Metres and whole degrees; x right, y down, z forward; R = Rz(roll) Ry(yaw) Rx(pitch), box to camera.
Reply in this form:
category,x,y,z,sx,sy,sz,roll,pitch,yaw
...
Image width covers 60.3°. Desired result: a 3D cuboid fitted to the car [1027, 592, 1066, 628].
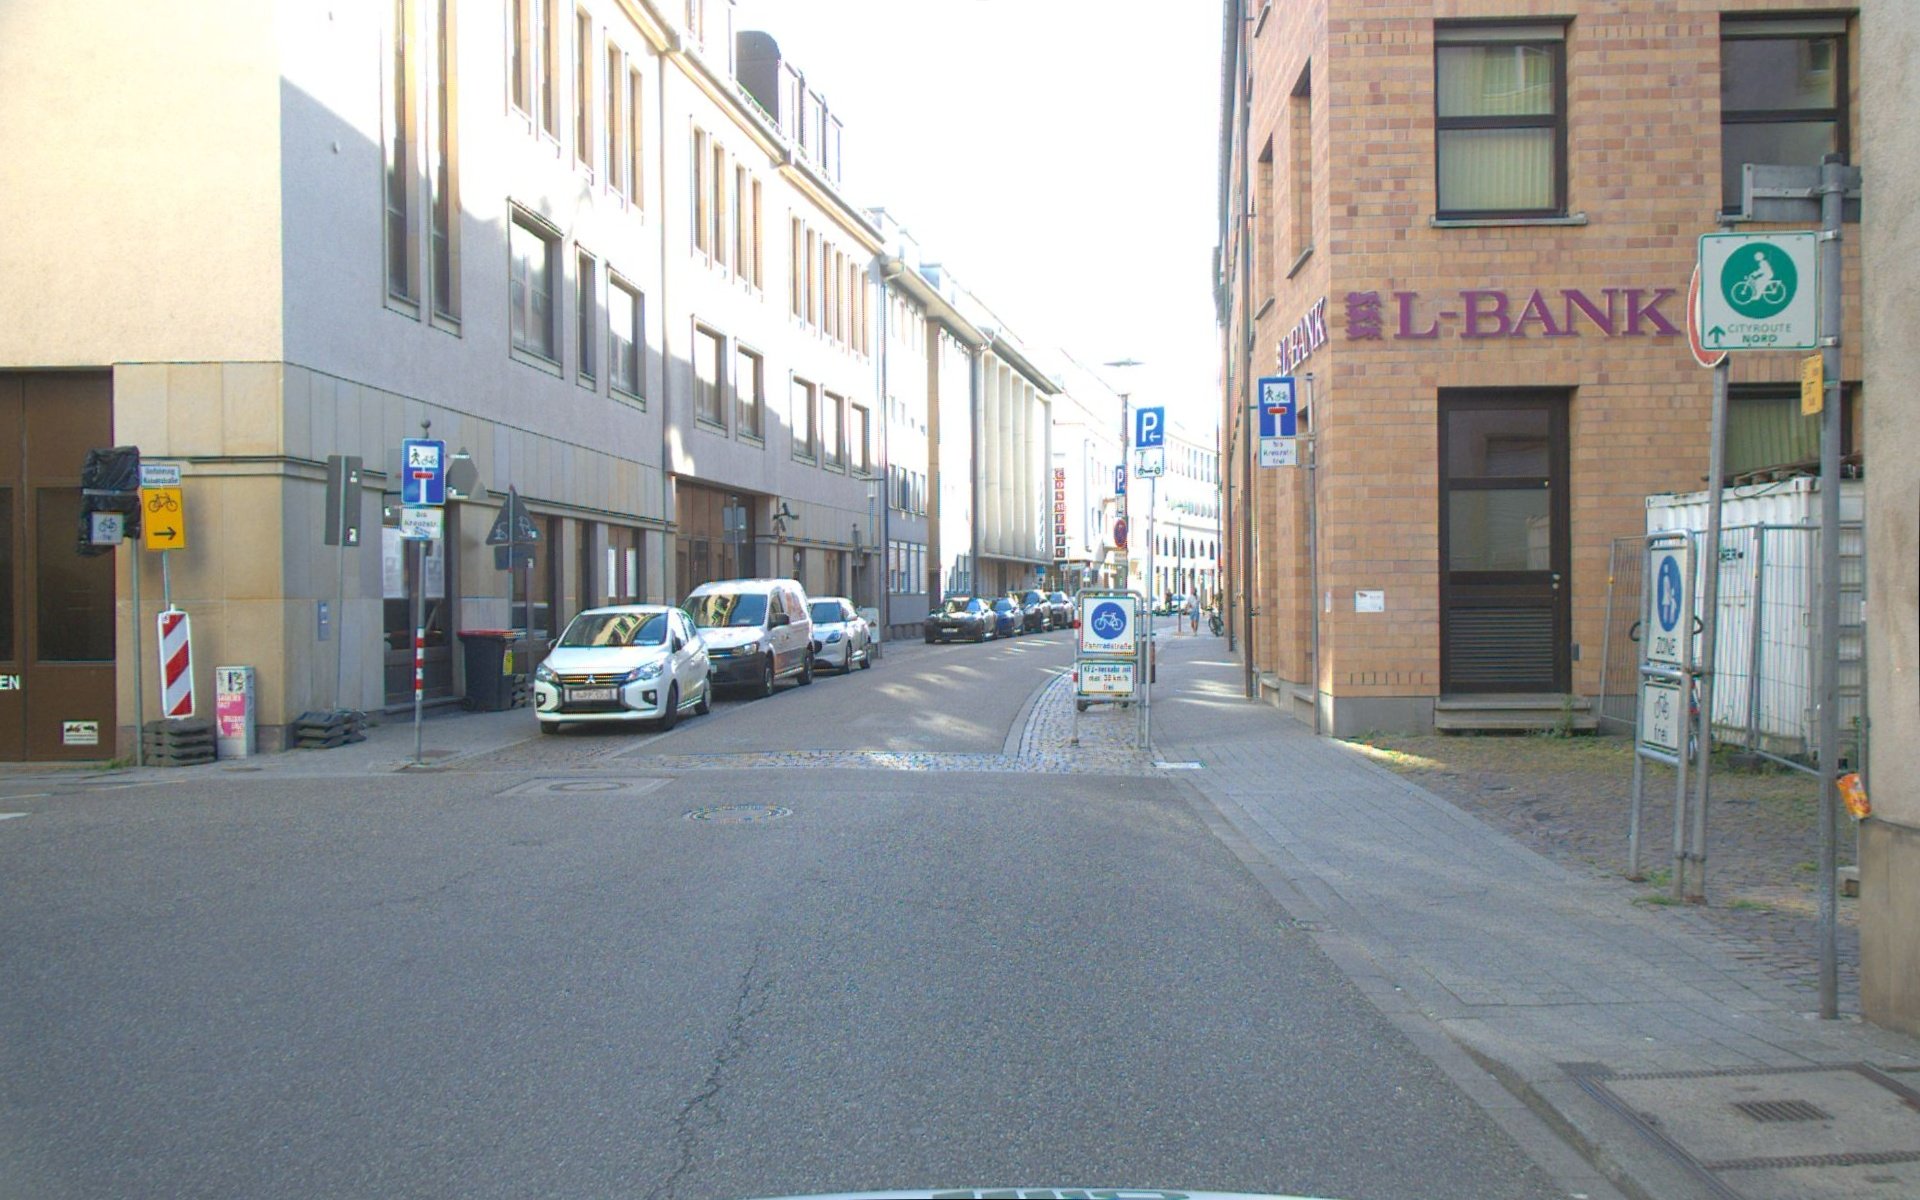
category,x,y,z,sx,sy,sz,roll,pitch,yaw
car,3.843,0.410,72.927,1.310,1.520,3.513,-1,0,10

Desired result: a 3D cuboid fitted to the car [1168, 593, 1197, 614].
category,x,y,z,sx,sy,sz,roll,pitch,yaw
car,15.360,0.220,114.064,1.653,1.394,3.621,-1,0,12

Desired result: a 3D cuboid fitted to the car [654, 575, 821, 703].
category,x,y,z,sx,sy,sz,roll,pitch,yaw
car,-3.514,0.574,26.936,1.635,1.850,4.555,-2,0,5

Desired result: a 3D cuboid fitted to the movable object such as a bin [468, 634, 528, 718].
category,x,y,z,sx,sy,sz,roll,pitch,yaw
movable object such as a bin,-6.201,1.012,22.213,0.596,1.079,0.713,2,-1,-3

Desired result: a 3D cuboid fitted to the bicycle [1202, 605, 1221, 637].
category,x,y,z,sx,sy,sz,roll,pitch,yaw
bicycle,8.285,0.690,54.619,0.500,1.011,2.650,0,0,6

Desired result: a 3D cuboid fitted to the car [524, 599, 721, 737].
category,x,y,z,sx,sy,sz,roll,pitch,yaw
car,-4.189,0.786,21.068,1.636,1.533,3.794,-2,0,1

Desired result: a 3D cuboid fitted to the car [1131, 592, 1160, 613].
category,x,y,z,sx,sy,sz,roll,pitch,yaw
car,13.018,0.156,115.780,1.653,1.394,3.621,-1,0,12

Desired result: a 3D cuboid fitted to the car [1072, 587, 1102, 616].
category,x,y,z,sx,sy,sz,roll,pitch,yaw
car,6.955,0.074,90.618,1.310,1.520,3.350,-1,0,10

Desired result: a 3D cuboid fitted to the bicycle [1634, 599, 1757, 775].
category,x,y,z,sx,sy,sz,roll,pitch,yaw
bicycle,6.002,0.676,13.572,0.538,1.340,1.648,-1,0,11

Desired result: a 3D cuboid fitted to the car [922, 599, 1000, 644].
category,x,y,z,sx,sy,sz,roll,pitch,yaw
car,0.069,0.664,53.671,1.841,1.355,4.104,-1,0,10

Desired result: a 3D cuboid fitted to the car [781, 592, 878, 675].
category,x,y,z,sx,sy,sz,roll,pitch,yaw
car,-2.566,0.636,33.123,1.244,1.533,3.404,-2,0,6

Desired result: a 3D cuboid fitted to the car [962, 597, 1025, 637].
category,x,y,z,sx,sy,sz,roll,pitch,yaw
car,1.240,0.591,59.580,1.687,1.364,4.004,-1,0,10

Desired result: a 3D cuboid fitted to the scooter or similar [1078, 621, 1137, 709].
category,x,y,z,sx,sy,sz,roll,pitch,yaw
scooter or similar,2.000,0.873,22.431,0.754,1.156,0.269,2,-1,2

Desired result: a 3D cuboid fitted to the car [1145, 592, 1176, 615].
category,x,y,z,sx,sy,sz,roll,pitch,yaw
car,13.058,0.215,107.592,1.653,1.394,3.621,-1,0,12

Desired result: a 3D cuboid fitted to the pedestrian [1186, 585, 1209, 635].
category,x,y,z,sx,sy,sz,roll,pitch,yaw
pedestrian,8.575,0.368,59.776,0.651,1.761,0.840,2,-1,-1
